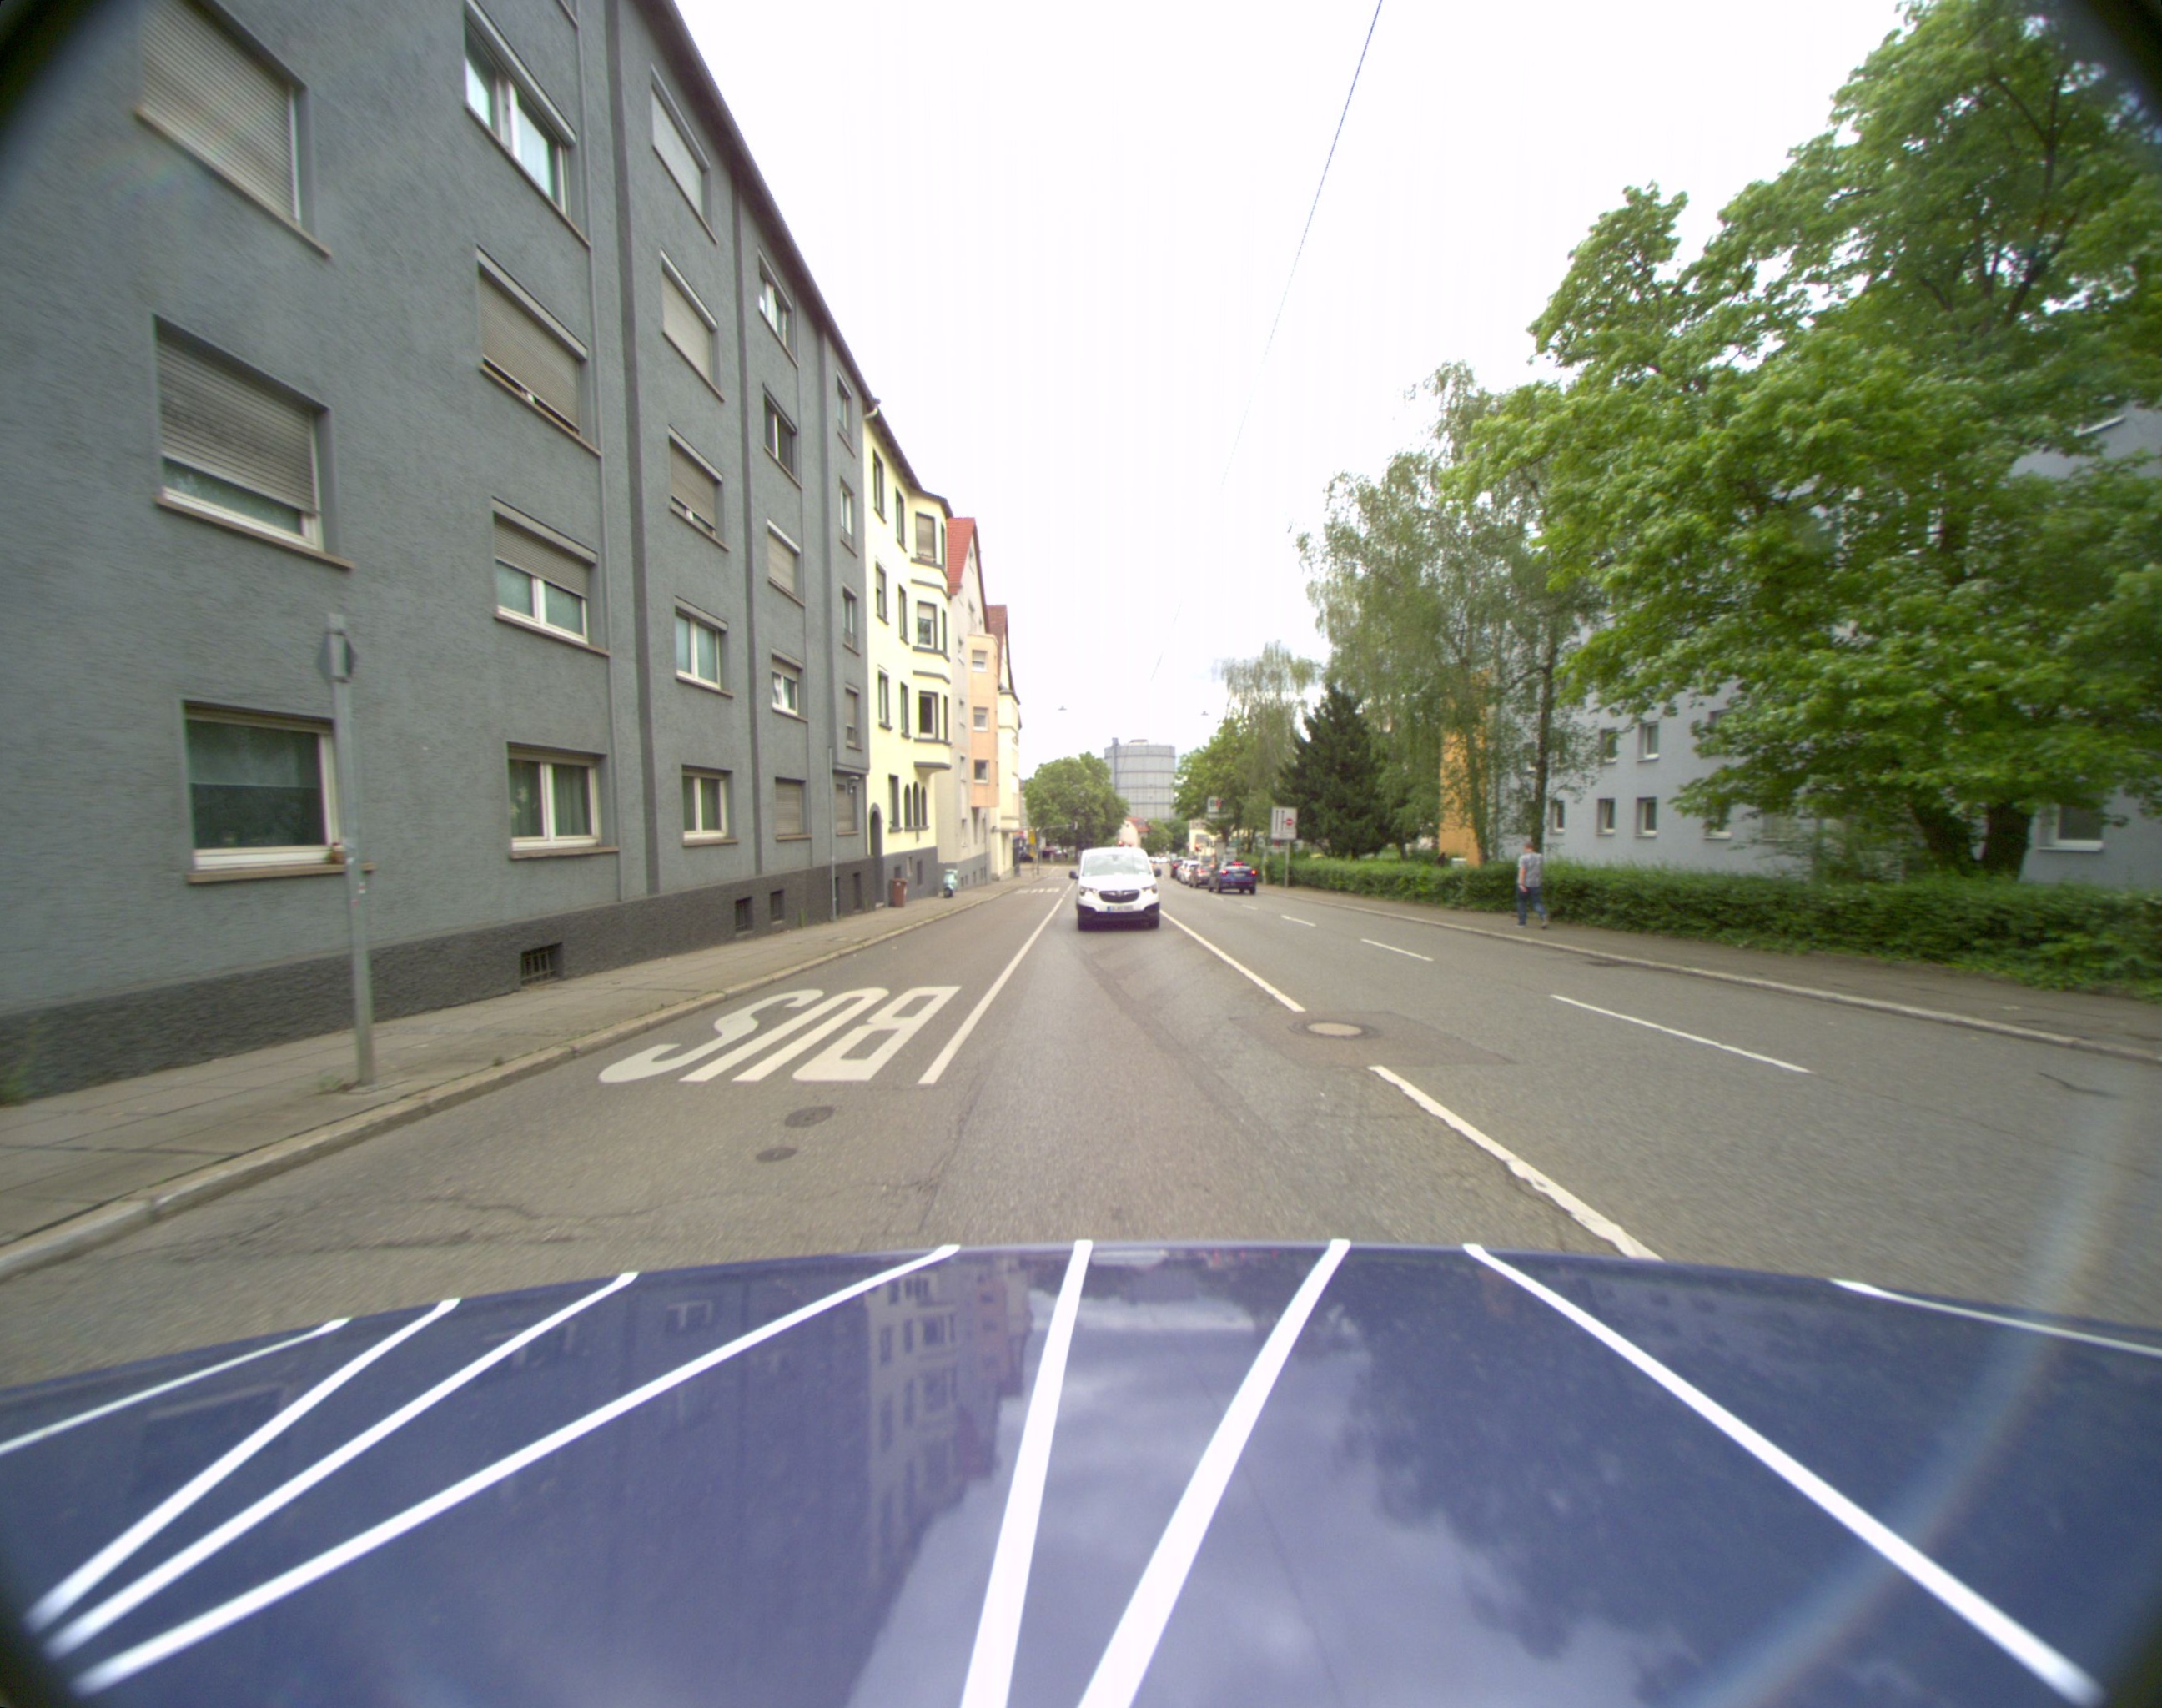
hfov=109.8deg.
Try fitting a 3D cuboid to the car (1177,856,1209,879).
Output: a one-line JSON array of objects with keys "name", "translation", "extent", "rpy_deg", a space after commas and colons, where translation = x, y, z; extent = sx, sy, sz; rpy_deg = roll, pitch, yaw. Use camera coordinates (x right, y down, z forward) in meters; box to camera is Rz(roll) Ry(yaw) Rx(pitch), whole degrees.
[{"name": "car", "translation": [8.273, 0.937, 56.511], "extent": [1.956, 1.584, 4.499], "rpy_deg": [2, 0, 3]}]

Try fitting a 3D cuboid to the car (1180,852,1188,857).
[{"name": "car", "translation": [34.749, 0.070, 256.532], "extent": [1.996, 1.590, 4.004], "rpy_deg": [-2, 0, 13]}]

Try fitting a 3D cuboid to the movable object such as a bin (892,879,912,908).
[{"name": "movable object such as a bin", "translation": [-5.735, 1.267, 24.331], "extent": [0.476, 0.887, 0.517], "rpy_deg": [2, 0, 0]}]

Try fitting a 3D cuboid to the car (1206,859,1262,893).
[{"name": "car", "translation": [7.083, 0.964, 35.553], "extent": [1.843, 1.439, 4.311], "rpy_deg": [1, 0, 1]}]

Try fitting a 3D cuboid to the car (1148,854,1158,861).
[{"name": "car", "translation": [17.442, 0.849, 183.816], "extent": [1.996, 1.590, 4.004], "rpy_deg": [-2, 0, 13]}]

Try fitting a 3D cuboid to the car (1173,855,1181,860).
[{"name": "car", "translation": [29.651, 1.088, 235.711], "extent": [1.996, 1.590, 4.004], "rpy_deg": [-2, 0, 13]}]

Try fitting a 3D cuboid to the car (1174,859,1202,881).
[{"name": "car", "translation": [8.852, 1.291, 63.346], "extent": [1.955, 1.633, 4.415], "rpy_deg": [2, 0, 4]}]

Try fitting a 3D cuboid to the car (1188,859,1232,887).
[{"name": "car", "translation": [7.239, 1.032, 43.106], "extent": [1.843, 1.439, 4.311], "rpy_deg": [1, 0, 1]}]

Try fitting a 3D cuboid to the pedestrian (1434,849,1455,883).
[{"name": "pedestrian", "translation": [18.871, 0.635, 39.433], "extent": [0.724, 1.743, 0.794], "rpy_deg": [-1, -3, 6]}]

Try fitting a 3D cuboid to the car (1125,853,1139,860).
[{"name": "car", "translation": [10.168, 0.449, 150.966], "extent": [1.916, 1.291, 4.413], "rpy_deg": [-2, 0, 13]}]

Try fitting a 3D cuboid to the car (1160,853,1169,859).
[{"name": "car", "translation": [23.241, 0.523, 210.771], "extent": [1.996, 1.590, 4.004], "rpy_deg": [-2, 0, 13]}]

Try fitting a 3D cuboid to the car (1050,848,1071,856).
[{"name": "car", "translation": [-3.997, -0.442, 148.085], "extent": [3.624, 1.496, 1.787], "rpy_deg": [-1, 1, -41]}]

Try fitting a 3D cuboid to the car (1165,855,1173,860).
[{"name": "car", "translation": [26.166, 0.996, 225.676], "extent": [1.996, 1.590, 4.004], "rpy_deg": [-2, 0, 13]}]

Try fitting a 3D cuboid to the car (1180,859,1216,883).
[{"name": "car", "translation": [7.659, 1.088, 50.159], "extent": [1.843, 1.404, 4.074], "rpy_deg": [2, 0, 2]}]

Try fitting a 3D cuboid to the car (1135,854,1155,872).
[{"name": "car", "translation": [5.940, 0.789, 70.399], "extent": [1.779, 1.537, 4.326], "rpy_deg": [-1, 0, 5]}]

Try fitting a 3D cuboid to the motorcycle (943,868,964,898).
[{"name": "motorcycle", "translation": [-5.234, 1.189, 31.311], "extent": [0.539, 1.149, 2.226], "rpy_deg": [2, 0, -2]}]

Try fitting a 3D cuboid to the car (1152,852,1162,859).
[{"name": "car", "translation": [19.385, 0.391, 193.347], "extent": [1.996, 1.590, 4.004], "rpy_deg": [-2, 0, 13]}]

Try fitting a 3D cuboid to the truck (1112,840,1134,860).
[{"name": "truck", "translation": [7.915, -0.729, 142.383], "extent": [2.769, 3.481, 8.177], "rpy_deg": [-2, 0, 12]}]

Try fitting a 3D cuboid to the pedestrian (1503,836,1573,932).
[{"name": "pedestrian", "translation": [9.680, 0.630, 16.124], "extent": [0.884, 1.938, 0.867], "rpy_deg": [-3, 0, 1]}]

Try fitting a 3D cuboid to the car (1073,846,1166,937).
[{"name": "car", "translation": [0.858, 0.768, 17.897], "extent": [1.888, 1.827, 4.677], "rpy_deg": [-1, 0, 2]}]
